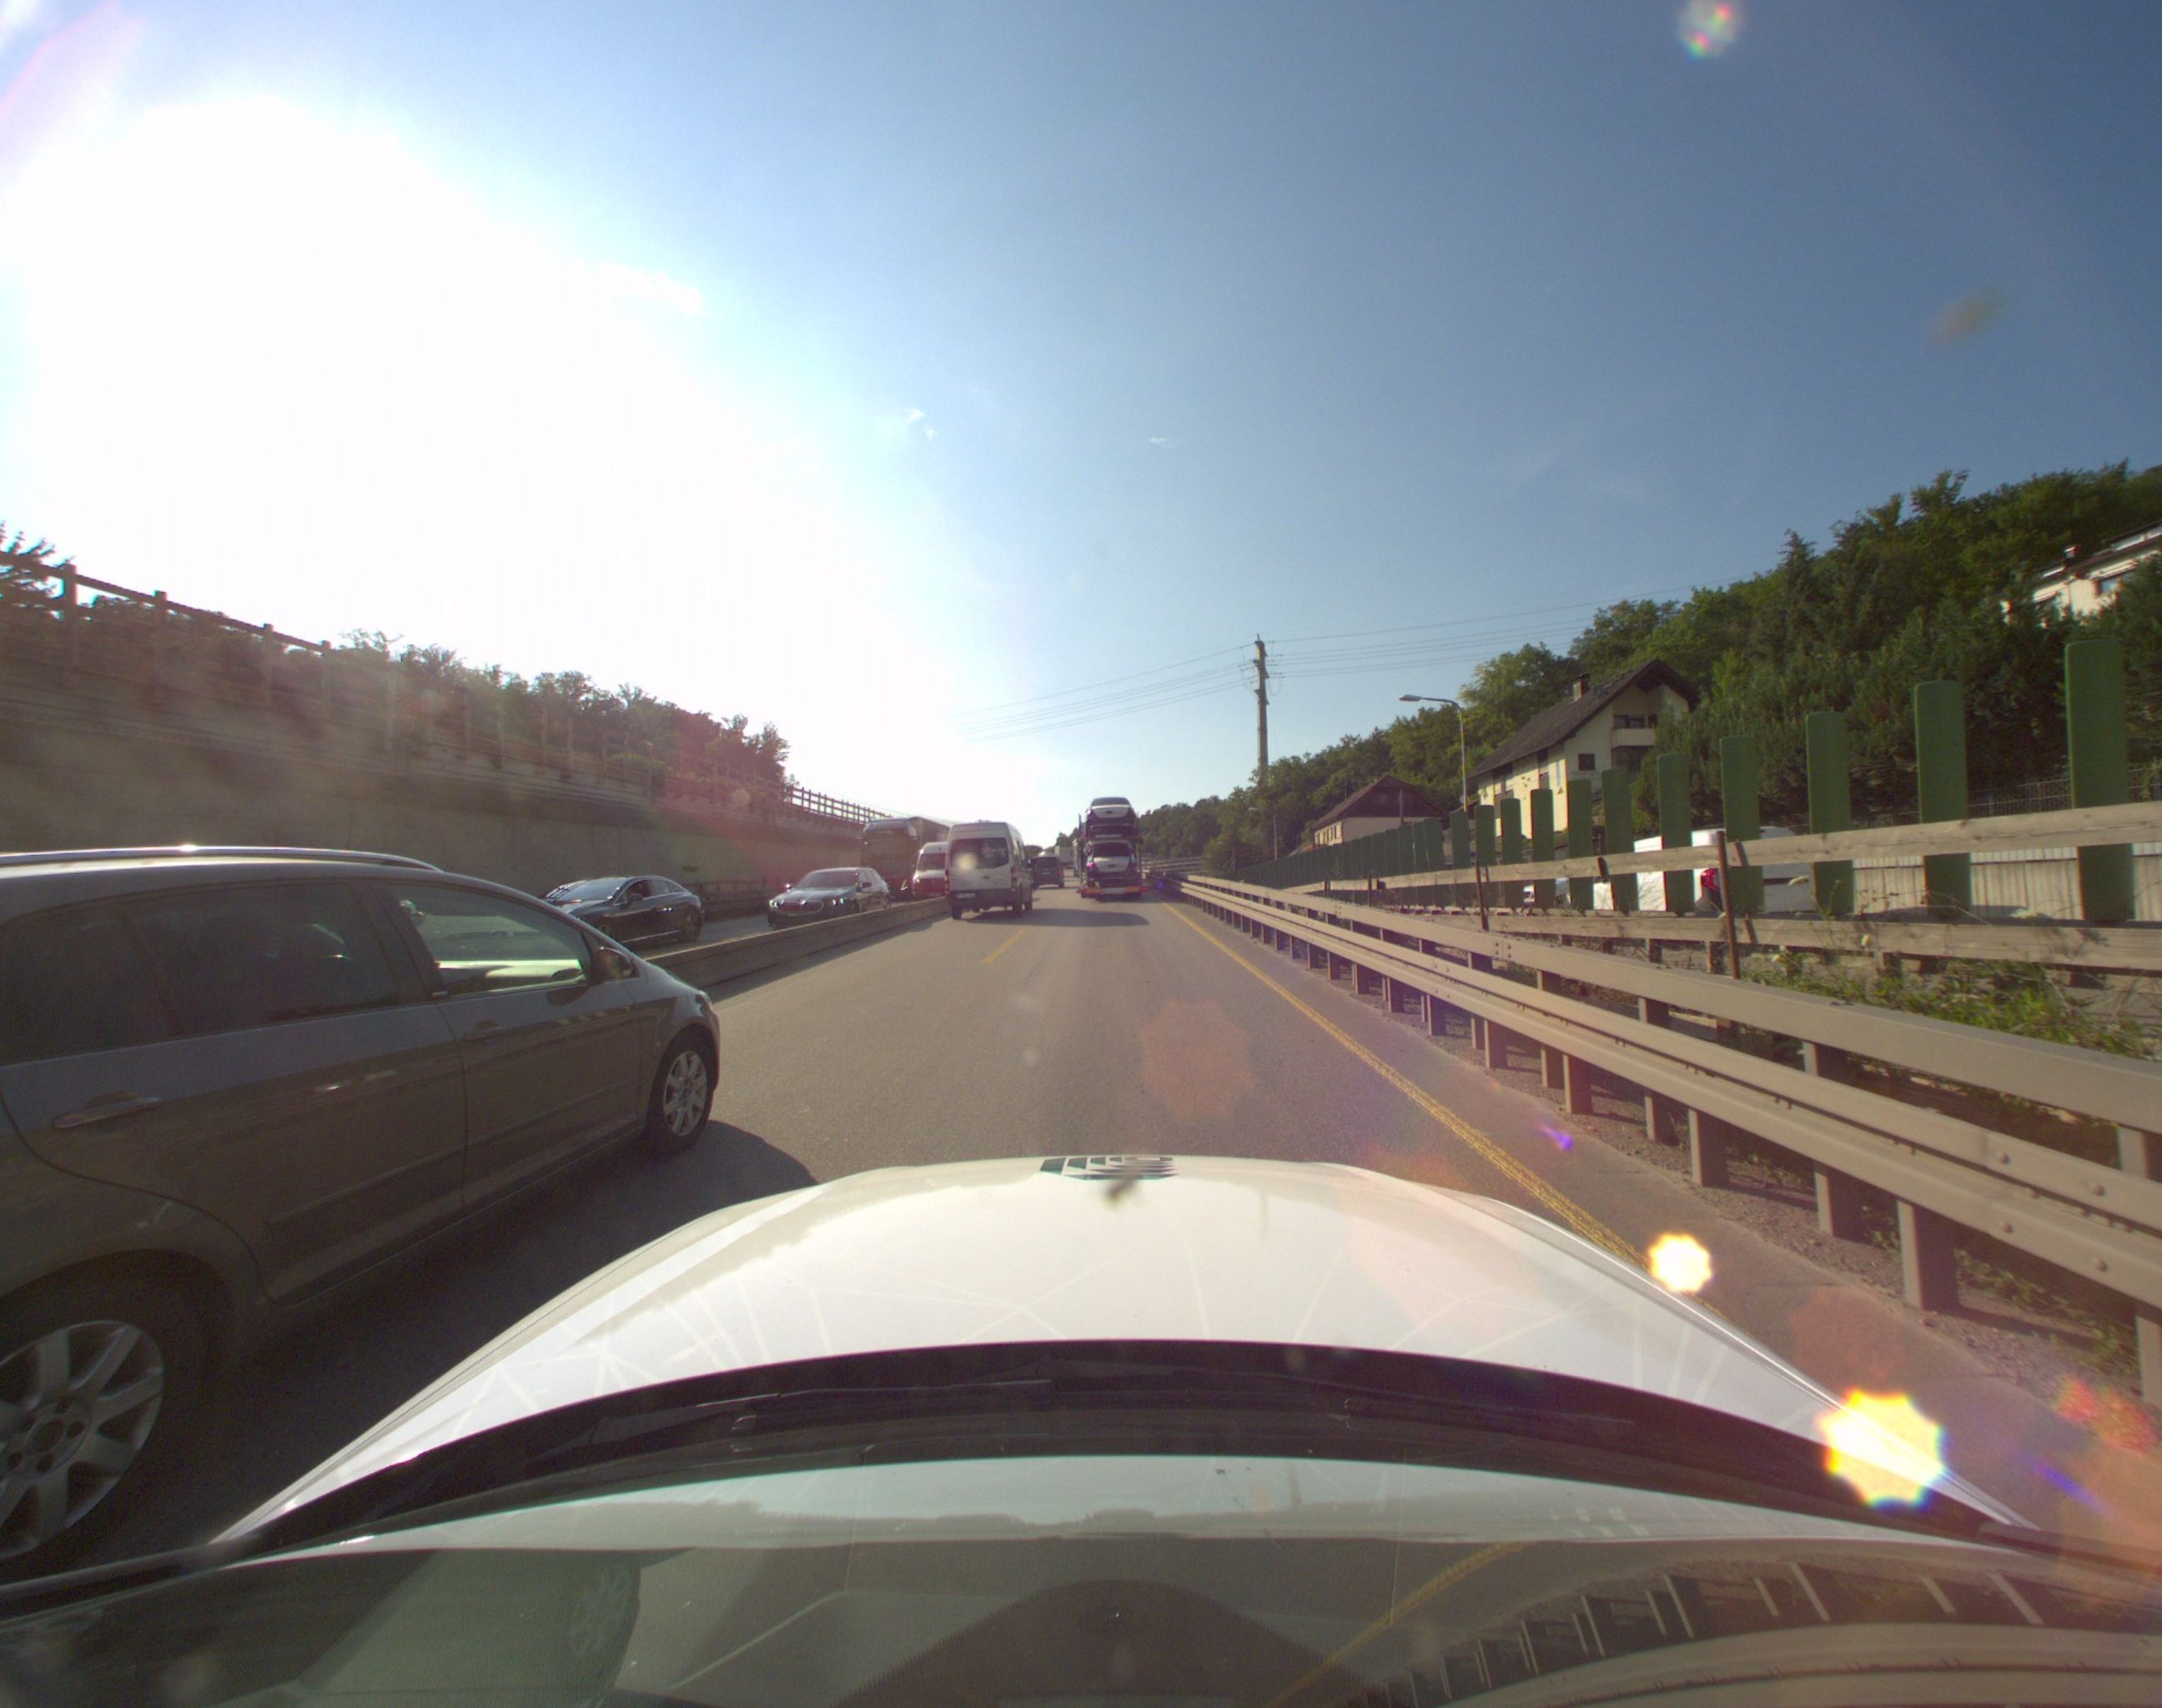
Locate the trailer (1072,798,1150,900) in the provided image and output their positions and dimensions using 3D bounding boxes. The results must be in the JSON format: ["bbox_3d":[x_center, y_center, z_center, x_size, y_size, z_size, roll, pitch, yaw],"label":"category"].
[{"bbox_3d":[1.326,0.031,36.299,2.672,3.535,15.292,1,-2,2],"label":"trailer"}]

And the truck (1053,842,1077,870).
[{"bbox_3d":[-2.853,0.436,144.667,4.054,4.680,10.583,0,-1,-2],"label":"truck"}]

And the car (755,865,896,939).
[{"bbox_3d":[-6.182,1.133,20.367,1.830,1.594,4.869,1,-2,1],"label":"car"}]

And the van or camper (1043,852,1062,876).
[{"bbox_3d":[-3.180,1.158,91.934,1.962,2.592,5.038,1,-2,-1],"label":"van or camper"}]

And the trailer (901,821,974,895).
[{"bbox_3d":[-8.869,0.244,51.665,2.597,4.112,9.628,-3,0,1],"label":"trailer"}]

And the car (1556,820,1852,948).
[{"bbox_3d":[10.440,0.525,14.183,1.800,1.871,4.441,0,-2,2],"label":"car"}]

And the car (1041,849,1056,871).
[{"bbox_3d":[-7.431,1.405,188.125,3.436,5.035,9.644,1,-1,-2],"label":"car"}]

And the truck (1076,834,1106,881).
[{"bbox_3d":[0.961,0.404,83.155,2.898,4.607,7.283,0,-1,0],"label":"truck"}]

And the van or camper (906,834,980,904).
[{"bbox_3d":[-5.910,0.635,35.709,1.986,2.706,5.958,-3,-1,1],"label":"van or camper"}]

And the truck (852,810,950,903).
[{"bbox_3d":[-8.998,0.172,42.005,2.615,4.113,9.627,-2,-1,1],"label":"truck"}]

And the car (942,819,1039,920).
[{"bbox_3d":[-2.532,0.435,24.218,1.985,2.648,5.534,0,-1,3],"label":"car"}]

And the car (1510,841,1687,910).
[{"bbox_3d":[15.791,0.685,25.029,4.115,1.737,1.852,-4,-3,2],"label":"car"}]

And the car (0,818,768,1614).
[{"bbox_3d":[-2.946,0.747,3.066,1.674,1.588,4.274,-2,0,3],"label":"car"}]

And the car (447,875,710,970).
[{"bbox_3d":[-9.415,1.192,15.889,1.965,1.421,4.900,-3,-1,1],"label":"car"}]

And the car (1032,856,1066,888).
[{"bbox_3d":[-1.966,1.146,50.627,1.802,1.904,4.000,1,-2,1],"label":"car"}]

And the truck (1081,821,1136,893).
[{"bbox_3d":[1.513,0.265,44.059,2.672,3.535,7.195,1,-2,2],"label":"truck"}]
